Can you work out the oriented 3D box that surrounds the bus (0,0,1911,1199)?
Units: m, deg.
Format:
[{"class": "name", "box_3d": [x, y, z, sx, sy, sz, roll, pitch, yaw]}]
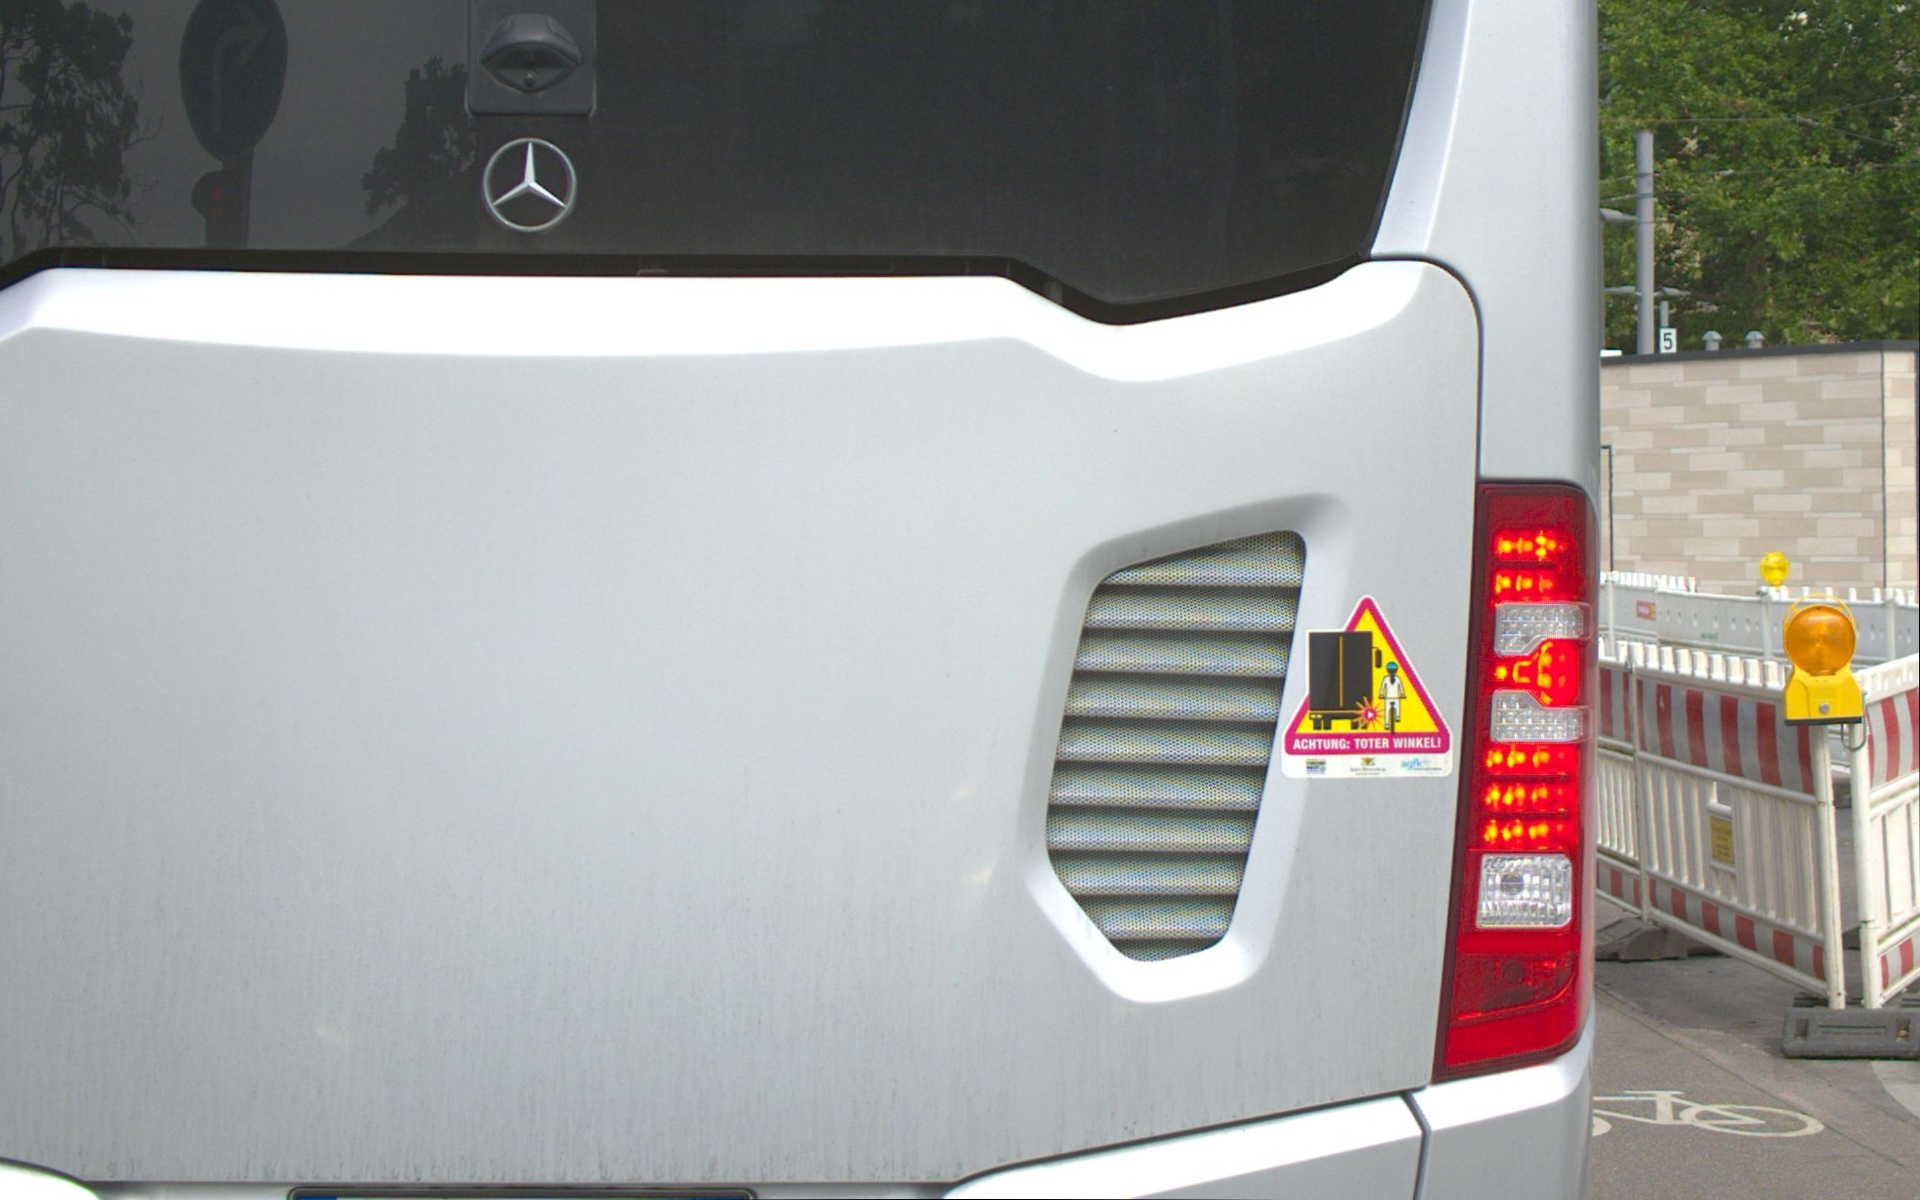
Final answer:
[{"class": "bus", "box_3d": [-0.572, -0.367, 10.518, 2.704, 3.426, 14.185, 0, 1, -1]}]
